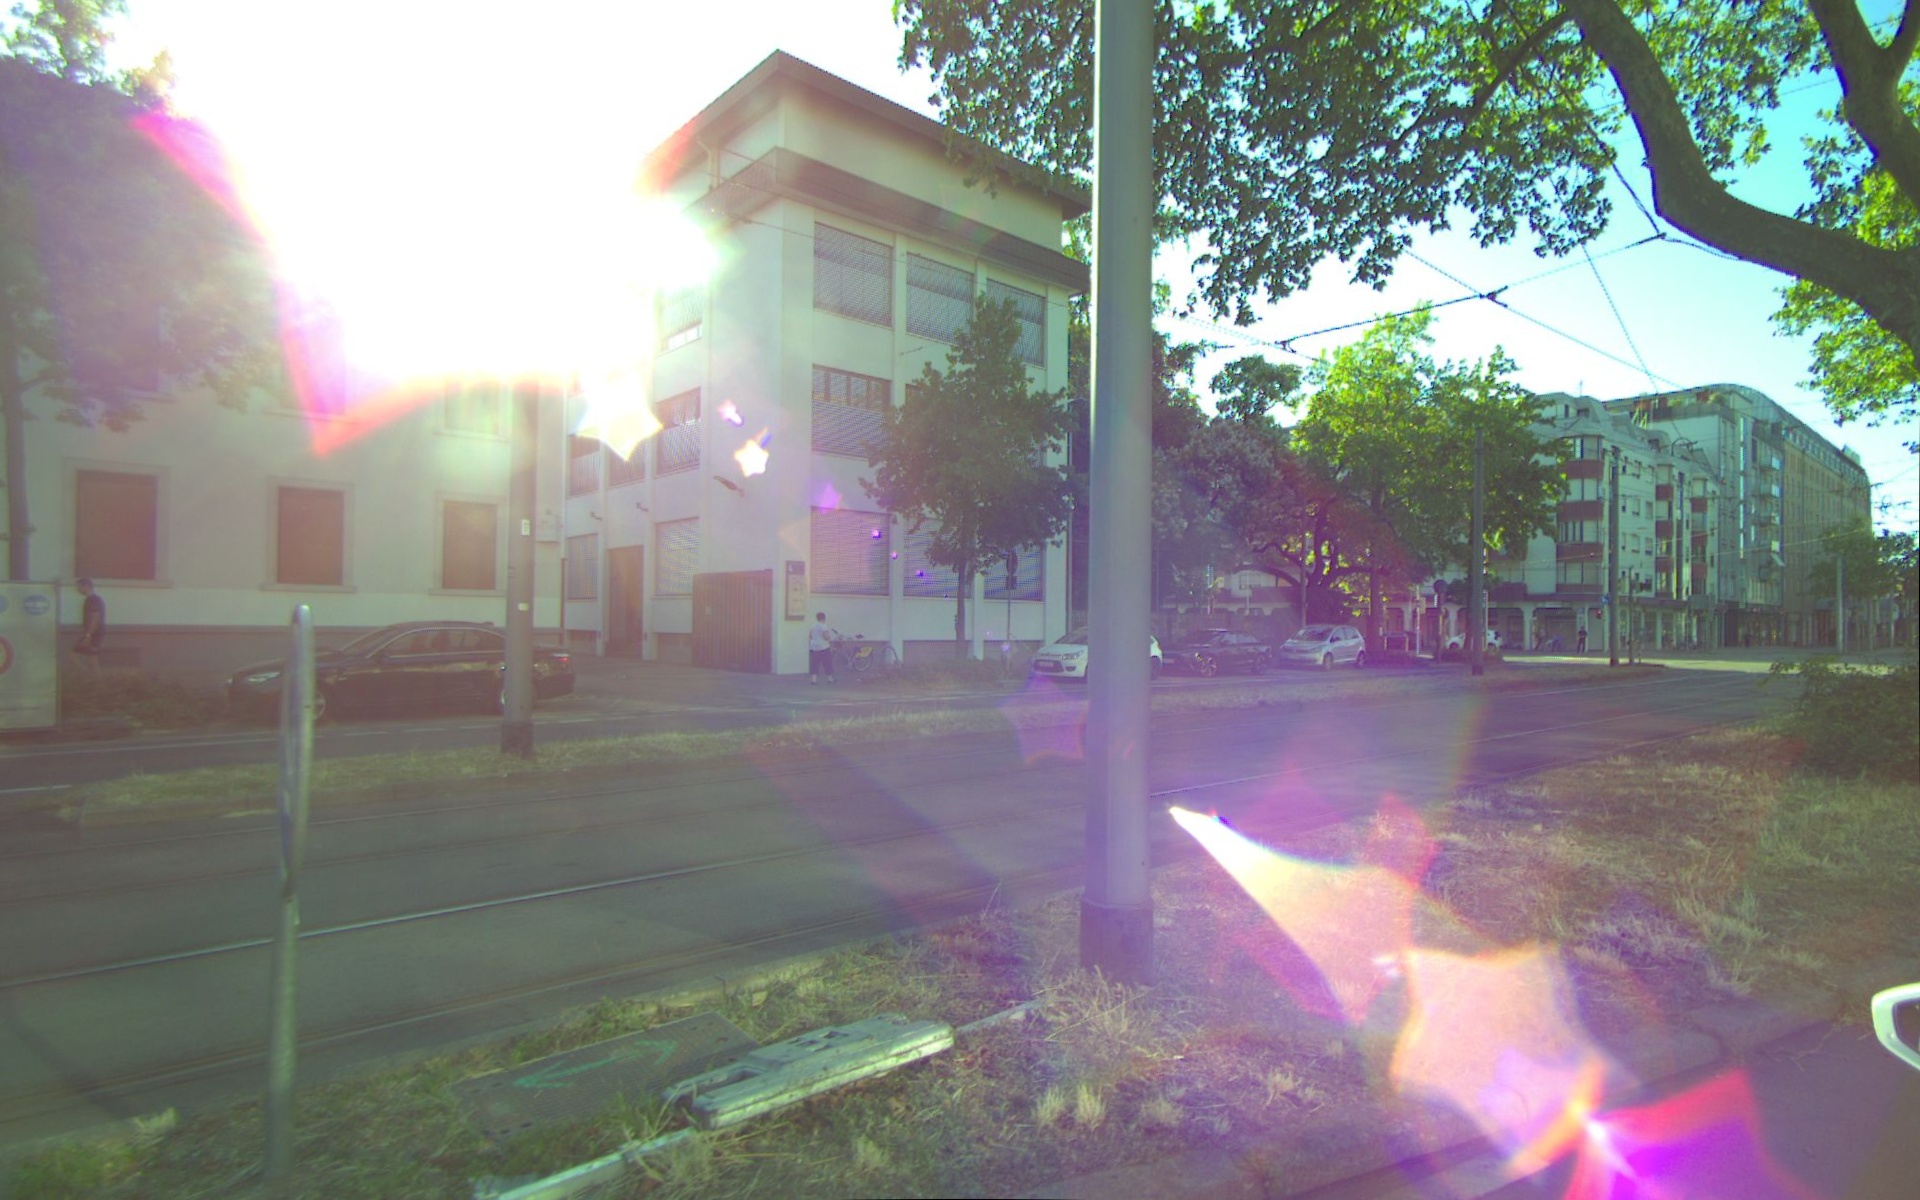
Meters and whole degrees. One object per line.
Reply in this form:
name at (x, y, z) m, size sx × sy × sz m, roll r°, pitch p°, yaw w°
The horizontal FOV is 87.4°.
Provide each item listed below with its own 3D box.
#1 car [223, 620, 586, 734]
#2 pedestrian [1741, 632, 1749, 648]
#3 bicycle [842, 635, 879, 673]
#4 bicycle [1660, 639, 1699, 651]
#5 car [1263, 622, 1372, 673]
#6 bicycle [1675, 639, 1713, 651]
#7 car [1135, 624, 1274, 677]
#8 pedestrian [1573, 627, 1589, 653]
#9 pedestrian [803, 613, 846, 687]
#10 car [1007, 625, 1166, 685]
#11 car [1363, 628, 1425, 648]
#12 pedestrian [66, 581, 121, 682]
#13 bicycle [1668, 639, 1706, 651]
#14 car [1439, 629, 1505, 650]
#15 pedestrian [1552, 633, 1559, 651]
car at (-8.590, 1.098, 15.810) m, size 4.689 × 1.533 × 1.976 m, roll 2°, pitch -2°, yaw -42°
pedestrian at (73.476, 3.736, 94.044) m, size 0.523 × 1.478 × 0.506 m, roll 1°, pitch -2°, yaw -38°
bicycle at (-2.699, 1.461, 27.265) m, size 1.011 × 1.016 × 0.300 m, roll 1°, pitch -2°, yaw -43°
bicycle at (51.193, 3.176, 71.476) m, size 0.636 × 0.797 × 2.149 m, roll 1°, pitch -2°, yaw -43°
car at (12.780, 1.636, 35.787) m, size 4.148 × 1.711 × 1.975 m, roll 2°, pitch -2°, yaw -43°
bicycle at (53.029, 3.213, 72.549) m, size 0.524 × 0.835 × 2.149 m, roll 1°, pitch -2°, yaw -43°
car at (7.567, 1.498, 30.832) m, size 4.616 × 1.495 × 1.975 m, roll 2°, pitch -2°, yaw -43°
pedestrian at (41.060, 2.651, 66.419) m, size 1.027 × 1.684 × 0.701 m, roll 1°, pitch -2°, yaw -45°
pedestrian at (-3.117, 1.141, 23.081) m, size 0.628 × 1.642 × 0.727 m, roll 1°, pitch 0°, yaw 44°
car at (3.489, 1.438, 27.205) m, size 4.374 × 1.490 × 1.975 m, roll 2°, pitch -2°, yaw -43°
car at (32.320, 2.841, 74.878) m, size 3.938 × 1.483 × 1.794 m, roll -2°, pitch -2°, yaw 38°
pedestrian at (-14.001, 0.501, 16.230) m, size 0.635 × 1.591 × 0.588 m, roll 1°, pitch -1°, yaw -42°
bicycle at (51.924, 3.196, 71.774) m, size 0.488 × 0.797 × 2.149 m, roll 1°, pitch -2°, yaw -43°
car at (36.451, 2.794, 71.519) m, size 3.938 × 1.483 × 1.794 m, roll -2°, pitch -2°, yaw 39°
pedestrian at (40.882, 2.876, 68.928) m, size 0.300 × 1.230 × 0.316 m, roll -2°, pitch -2°, yaw 45°
